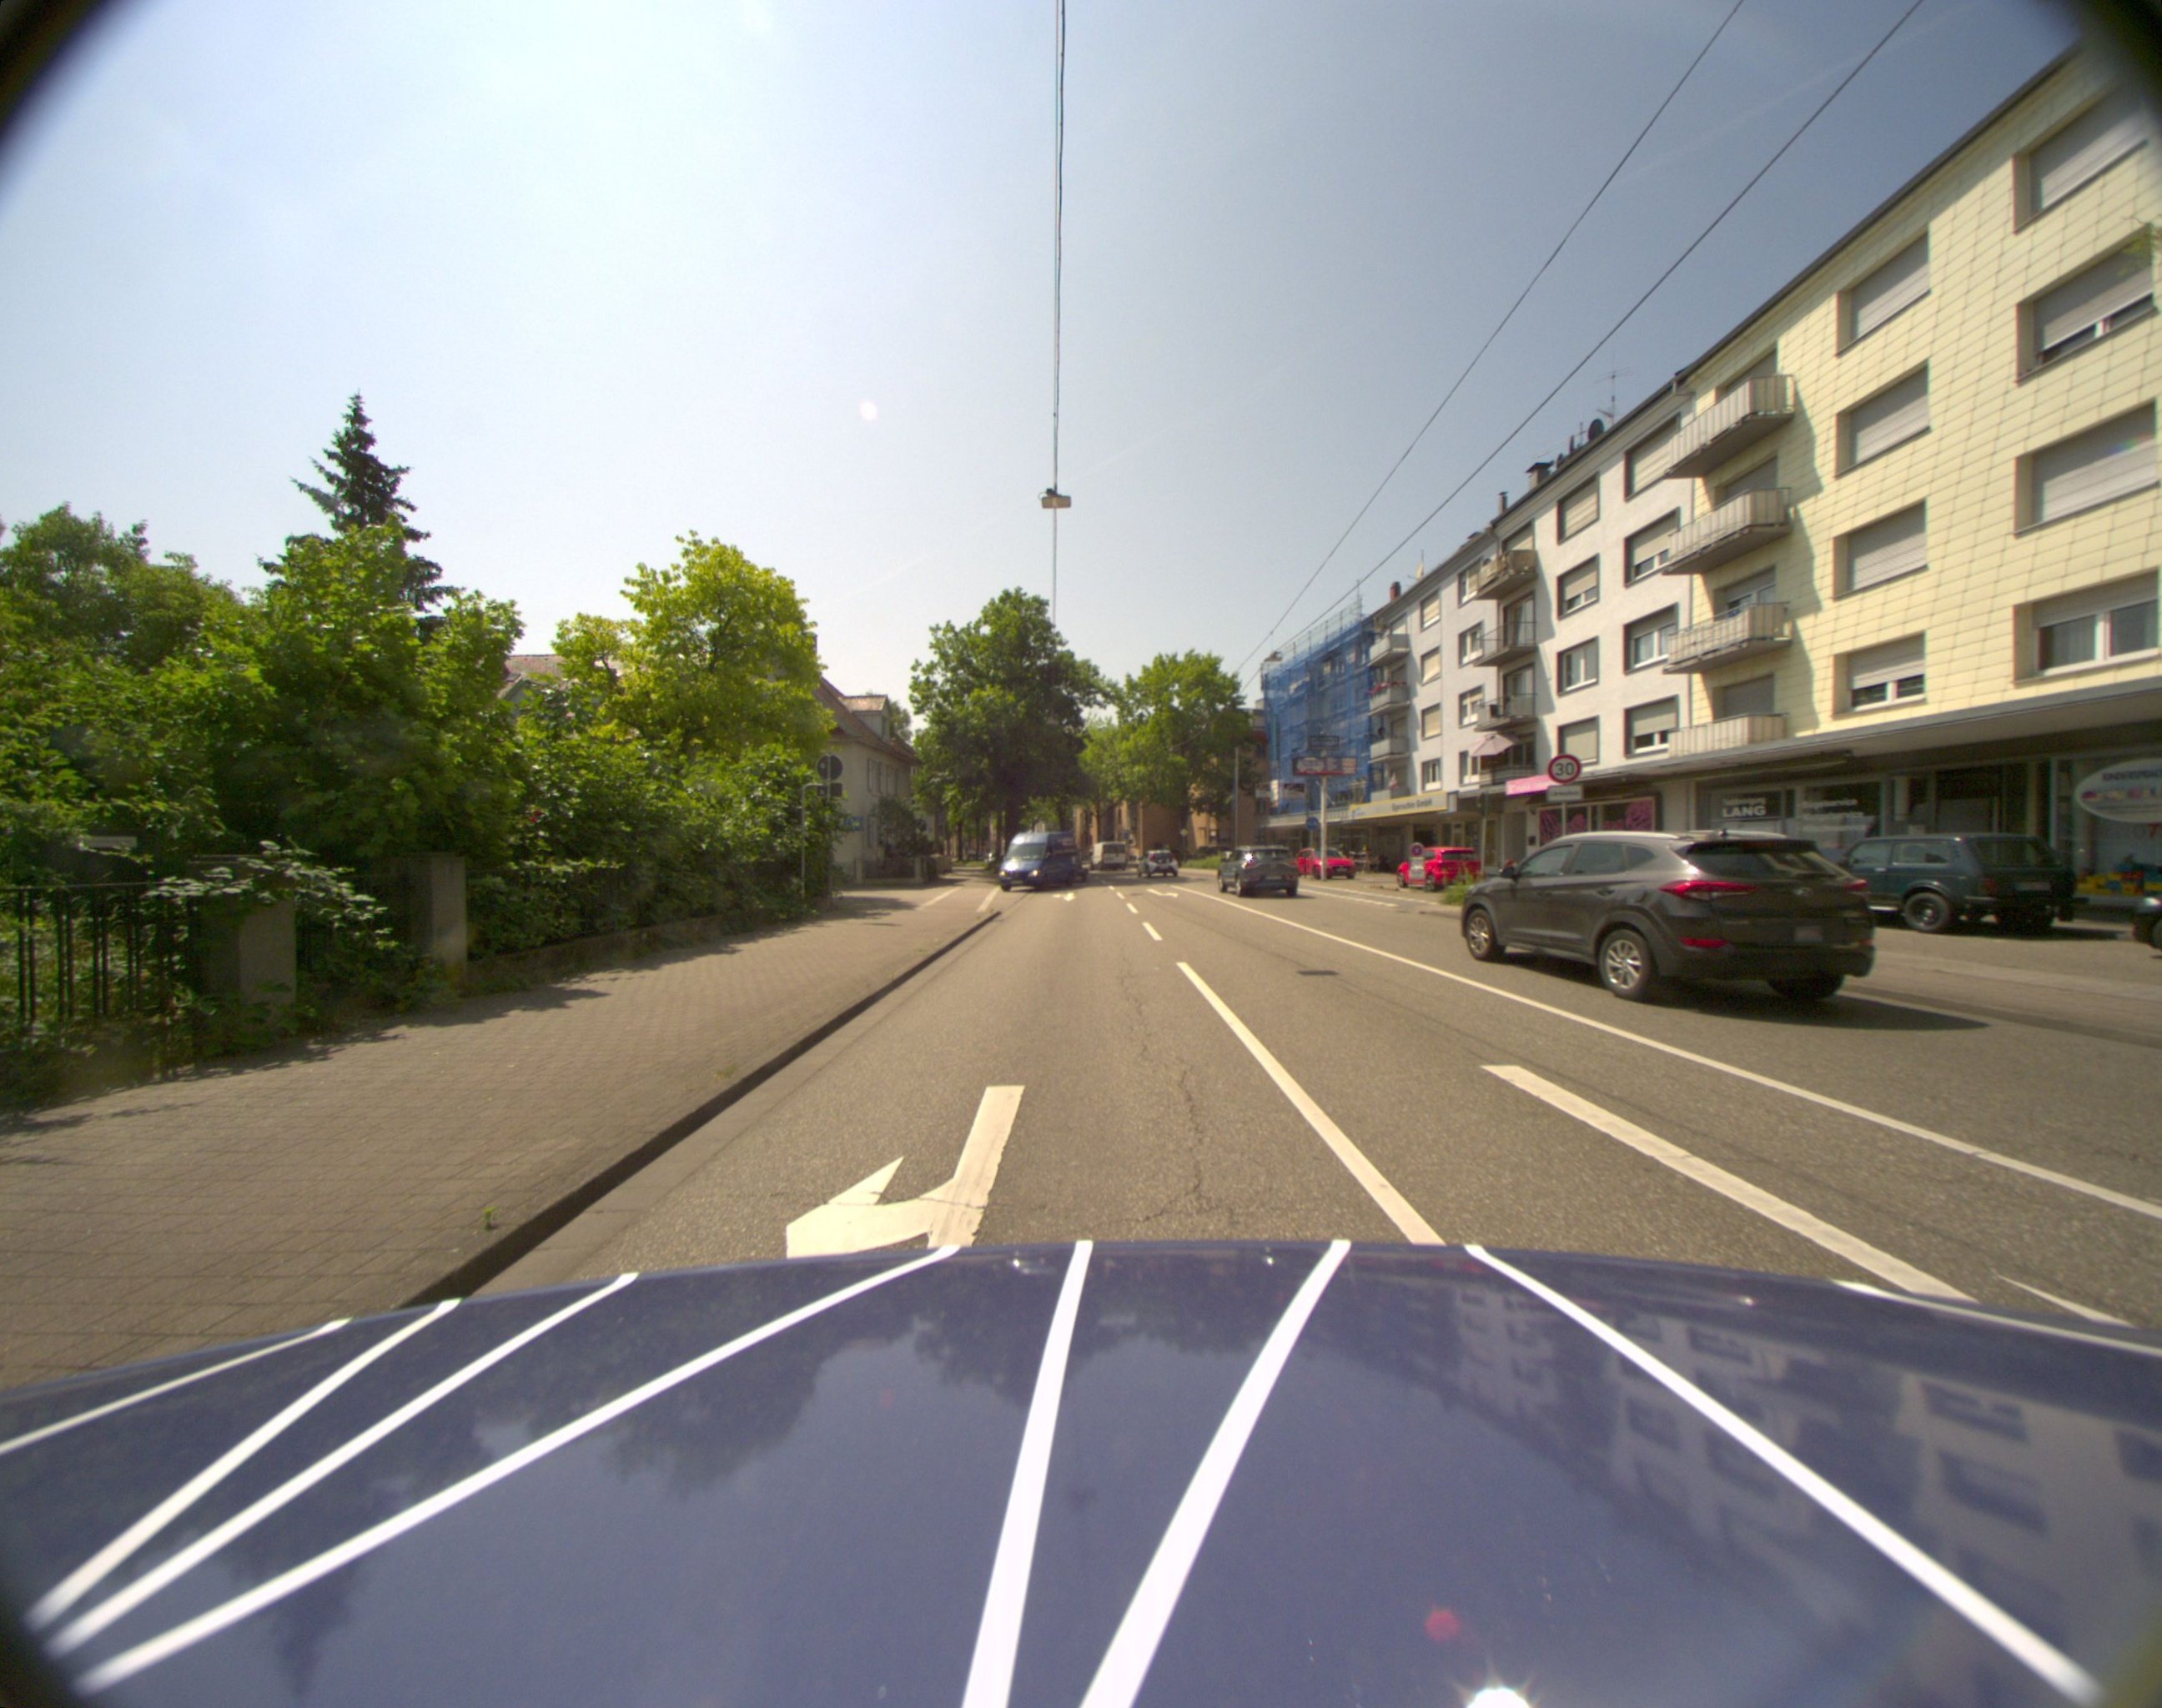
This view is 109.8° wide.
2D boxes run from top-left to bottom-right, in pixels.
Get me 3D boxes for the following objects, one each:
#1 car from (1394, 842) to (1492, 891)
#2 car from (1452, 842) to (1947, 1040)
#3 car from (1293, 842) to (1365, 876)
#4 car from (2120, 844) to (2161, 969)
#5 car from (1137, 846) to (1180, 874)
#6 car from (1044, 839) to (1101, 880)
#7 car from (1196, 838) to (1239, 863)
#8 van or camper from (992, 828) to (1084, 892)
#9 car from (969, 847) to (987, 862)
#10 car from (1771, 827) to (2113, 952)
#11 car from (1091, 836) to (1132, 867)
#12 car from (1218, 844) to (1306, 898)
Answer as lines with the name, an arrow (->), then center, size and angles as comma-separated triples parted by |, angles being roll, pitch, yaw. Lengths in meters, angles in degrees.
car -> 12.062, 0.366, 25.586 | 1.639, 1.460, 3.634 | 0, 2, 2
car -> 6.137, 0.700, 8.386 | 1.985, 1.629, 4.225 | 0, 0, -1
car -> 11.691, 0.198, 36.128 | 1.913, 1.511, 4.333 | 0, 1, -2
car -> 14.241, 0.680, 7.414 | 1.626, 1.560, 4.839 | -1, 1, 1
car -> 4.382, 0.319, 43.441 | 1.707, 1.462, 3.556 | -2, 0, -6
car -> -0.364, 0.267, 39.568 | 1.997, 2.002, 4.598 | 0, 1, 12
car -> 9.944, -0.259, 55.717 | 1.914, 1.795, 4.331 | -1, 1, -7
van or camper -> -1.740, 0.177, 33.557 | 2.161, 2.567, 5.852 | 0, 1, 17
car -> -12.807, 0.054, 94.247 | 1.828, 1.674, 3.995 | -2, 1, -12
car -> 14.631, 0.521, 13.292 | 1.643, 1.828, 3.859 | -1, 1, 1
car -> 2.346, -0.238, 59.910 | 2.322, 2.230, 4.758 | -3, 1, -8
car -> 5.878, 0.488, 25.169 | 1.928, 1.598, 3.999 | -1, 1, 0
